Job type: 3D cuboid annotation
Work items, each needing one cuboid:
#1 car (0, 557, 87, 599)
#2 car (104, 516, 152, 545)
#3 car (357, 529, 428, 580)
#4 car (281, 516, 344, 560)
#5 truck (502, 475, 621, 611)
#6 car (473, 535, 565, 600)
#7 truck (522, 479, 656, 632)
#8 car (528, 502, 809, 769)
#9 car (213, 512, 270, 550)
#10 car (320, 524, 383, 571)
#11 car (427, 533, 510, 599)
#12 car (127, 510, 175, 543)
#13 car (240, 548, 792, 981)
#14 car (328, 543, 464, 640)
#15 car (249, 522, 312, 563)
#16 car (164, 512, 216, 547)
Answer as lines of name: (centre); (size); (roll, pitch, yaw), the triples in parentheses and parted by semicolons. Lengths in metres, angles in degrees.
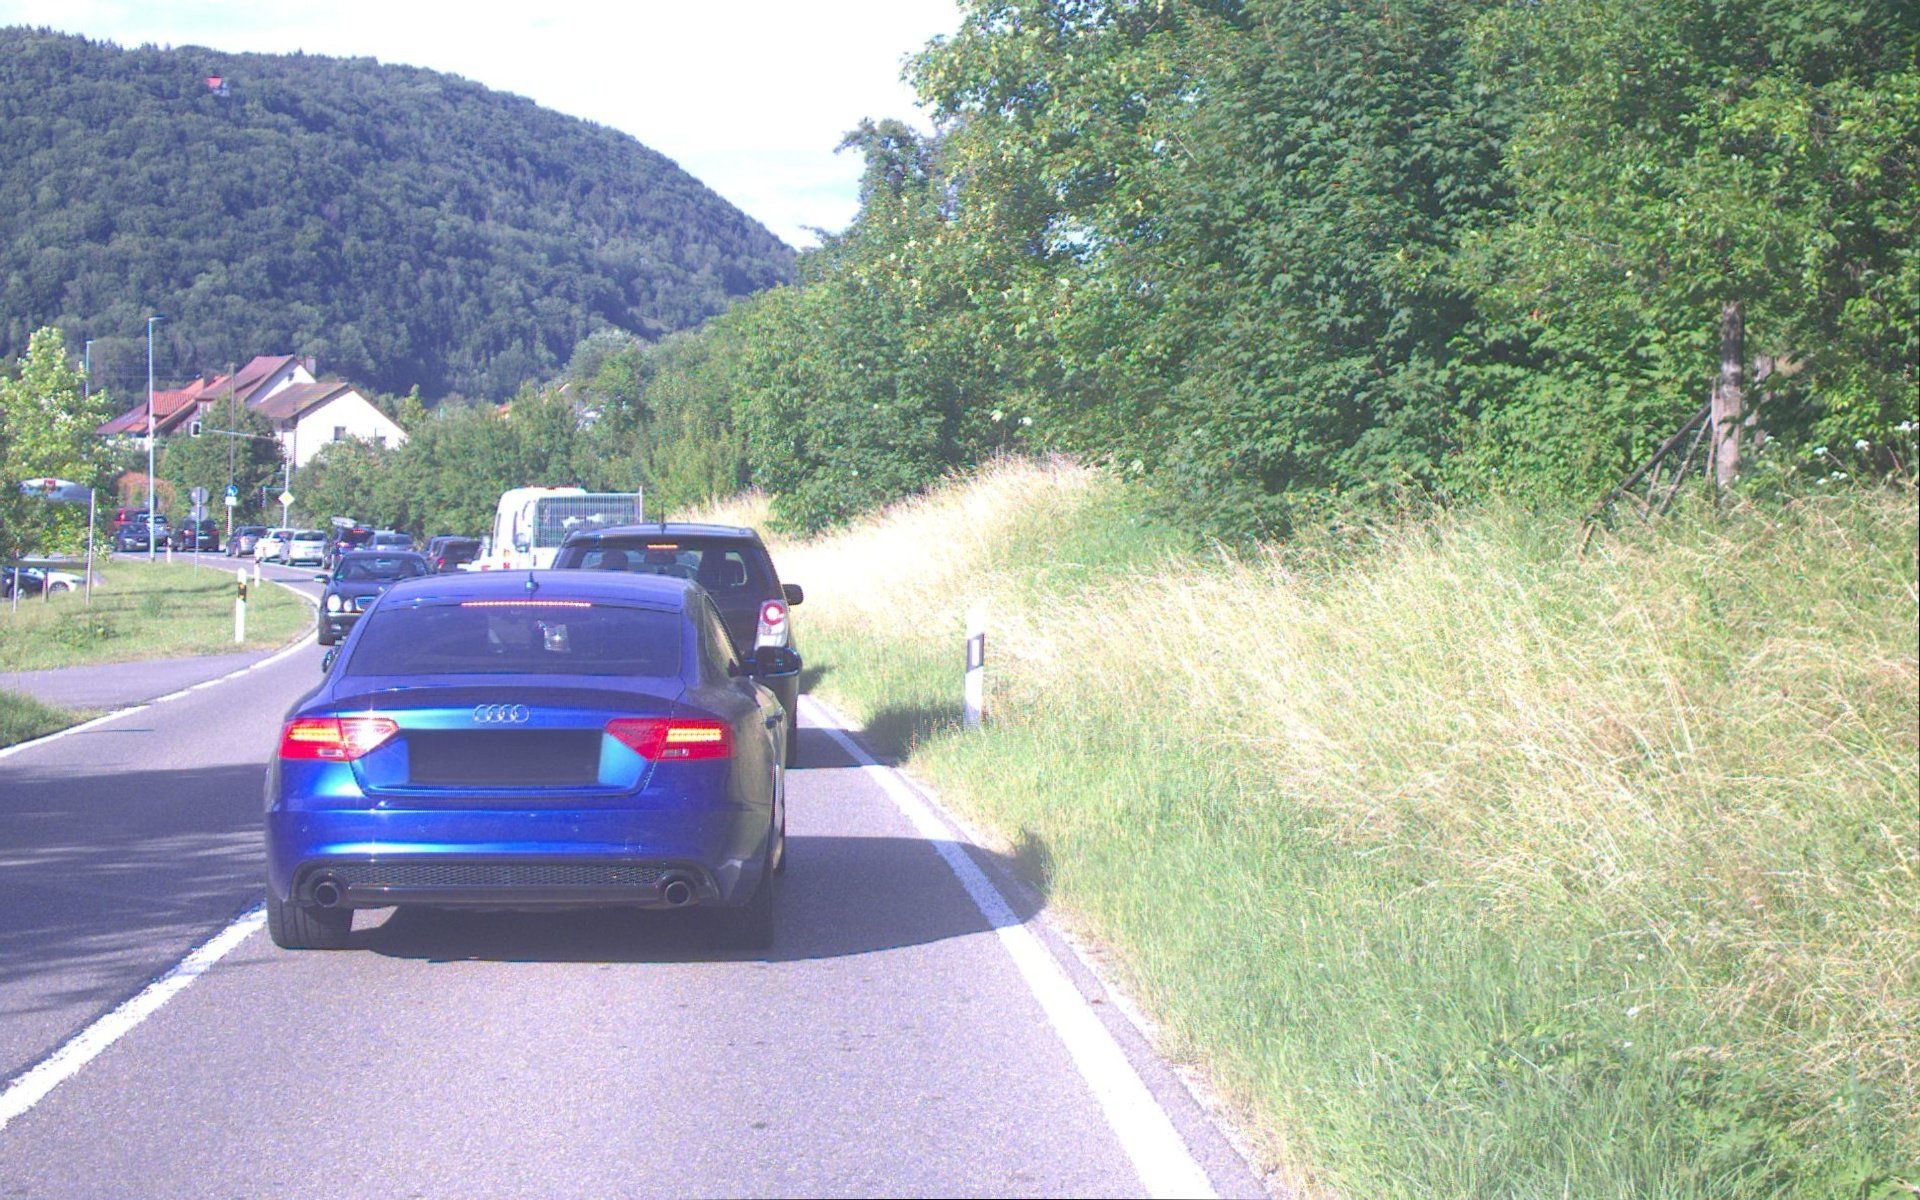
car: (-35.399, -0.850, 130.939); (3.986, 1.573, 1.753); (1, 0, -7)
car: (-41.401, -3.455, 171.049); (1.703, 1.425, 4.051); (1, 1, -23)
car: (-19.718, -1.583, 119.410); (1.845, 1.706, 4.001); (1, 1, -18)
car: (-26.036, -2.477, 138.074); (1.845, 1.706, 4.001); (1, 1, -20)
truck: (-8.053, -1.122, 68.981); (2.229, 2.561, 6.709); (1, 1, -8)
car: (-10.464, -0.776, 81.386); (1.845, 1.477, 4.001); (1, 1, -12)
truck: (-6.605, -0.790, 61.300); (2.229, 2.561, 6.105); (1, 1, -6)
car: (-1.972, 0.205, 23.674); (1.754, 1.675, 3.847); (1, 1, -4)
car: (-33.103, -3.163, 158.343); (1.845, 1.706, 4.001); (1, 1, -23)
car: (-22.814, -1.973, 128.840); (1.845, 1.706, 4.001); (1, 1, -17)
car: (-13.039, -0.908, 91.028); (1.845, 1.706, 4.001); (1, 1, -13)
car: (-43.581, -3.948, 185.146); (1.845, 1.706, 4.001); (1, 1, -23)
car: (-1.572, 0.530, 13.389); (1.754, 1.425, 3.847); (1, 1, -2)
car: (-8.243, -0.144, 50.495); (1.594, 1.349, 4.204); (1, 1, -4)
car: (-29.071, -2.466, 147.040); (1.845, 1.706, 4.001); (1, 1, -23)
car: (-38.604, -3.506, 172.341); (1.845, 1.706, 4.001); (1, 1, -23)
